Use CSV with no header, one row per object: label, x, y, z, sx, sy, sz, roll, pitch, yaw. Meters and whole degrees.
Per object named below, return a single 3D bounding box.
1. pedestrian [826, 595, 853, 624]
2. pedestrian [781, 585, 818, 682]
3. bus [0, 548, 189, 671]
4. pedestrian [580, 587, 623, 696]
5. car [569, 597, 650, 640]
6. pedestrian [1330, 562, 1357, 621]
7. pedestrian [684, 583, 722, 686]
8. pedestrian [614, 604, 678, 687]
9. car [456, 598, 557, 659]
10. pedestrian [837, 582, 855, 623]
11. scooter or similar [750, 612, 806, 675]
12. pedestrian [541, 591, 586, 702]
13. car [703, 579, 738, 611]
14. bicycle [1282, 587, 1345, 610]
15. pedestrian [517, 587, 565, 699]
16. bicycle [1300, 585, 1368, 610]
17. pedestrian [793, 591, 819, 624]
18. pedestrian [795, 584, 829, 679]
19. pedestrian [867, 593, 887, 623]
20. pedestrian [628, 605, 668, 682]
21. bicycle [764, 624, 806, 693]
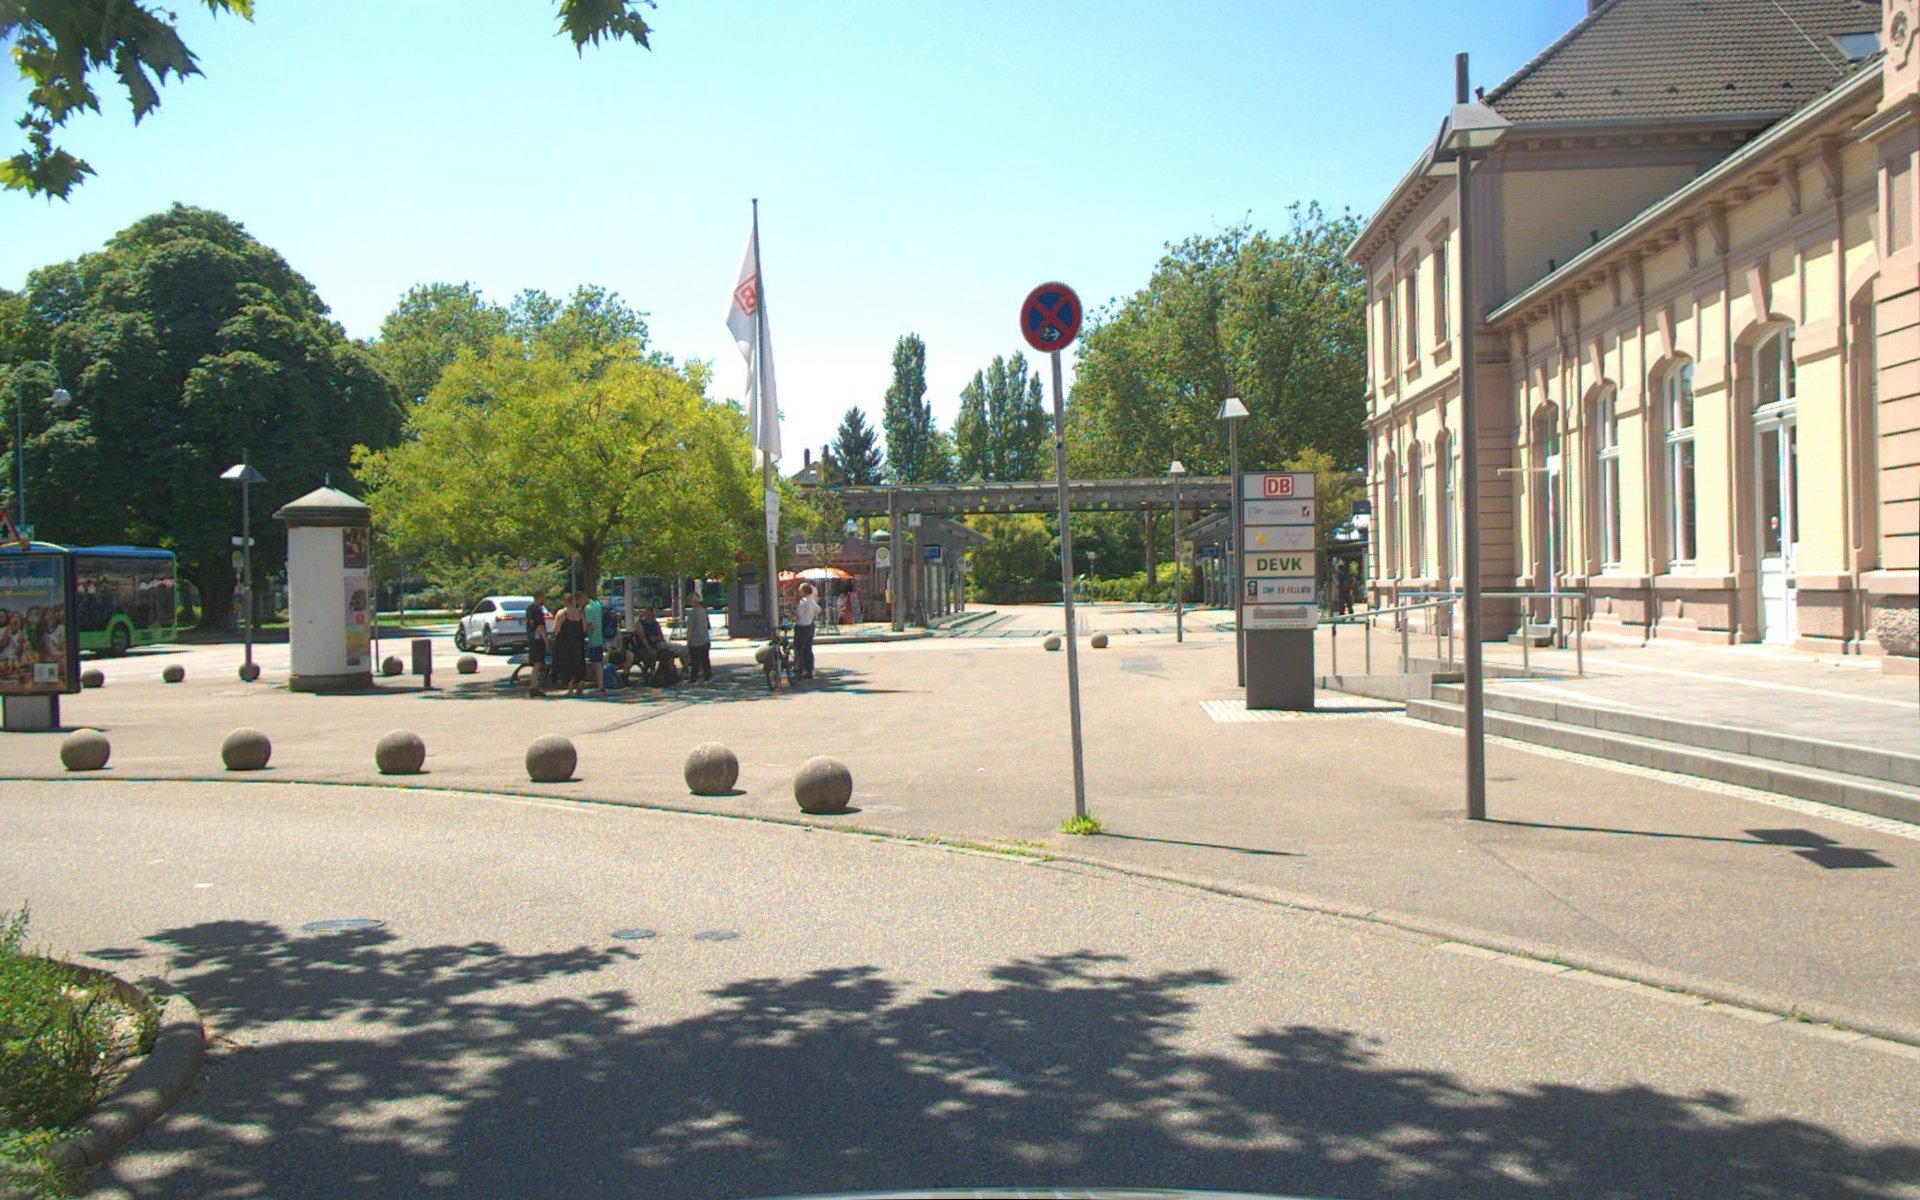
pedestrian,-5.030,0.411,69.043,0.883,1.181,0.681,-1,0,-31
pedestrian,-2.874,0.593,29.632,0.606,1.714,0.590,-1,0,-8
bus,-27.208,0.229,48.294,2.750,3.340,12.432,-1,1,4
pedestrian,-5.938,0.673,27.377,0.575,1.770,0.596,-1,0,-21
car,-13.919,0.713,65.922,1.887,1.485,4.727,-4,0,3
pedestrian,11.995,-0.262,51.722,0.674,1.841,0.631,-1,0,26
pedestrian,-4.542,0.601,29.200,0.504,1.770,0.566,-1,0,-25
pedestrian,-5.582,0.793,29.409,0.898,1.410,0.936,-1,0,-25
car,-13.436,0.791,48.823,1.959,1.655,4.736,-2,1,-27
pedestrian,-4.989,0.108,72.504,0.672,1.768,0.707,-1,0,4
scooter or similar,-3.429,0.813,31.210,1.004,1.159,0.294,-1,0,-4
pedestrian,-6.460,0.741,26.915,0.617,1.770,0.544,-1,0,-21
car,-17.449,-0.384,120.336,2.164,2.211,4.866,-1,1,-13
bicycle,16.255,-0.071,76.015,2.728,1.021,0.811,1,0,2
pedestrian,-6.930,0.700,27.337,0.681,1.794,0.582,-1,0,-20
bicycle,15.842,-0.095,70.126,2.728,1.021,0.811,1,0,2
pedestrian,-6.452,0.311,69.246,0.883,1.335,0.681,-1,0,-31
pedestrian,-2.711,0.573,30.266,0.543,1.714,0.586,-1,0,-8
pedestrian,-3.432,0.341,68.343,0.743,1.226,0.737,1,0,4
pedestrian,-5.777,0.798,30.616,0.589,1.388,0.595,-2,1,-24
bicycle,-2.939,0.959,27.873,0.411,1.079,1.949,-1,0,2
